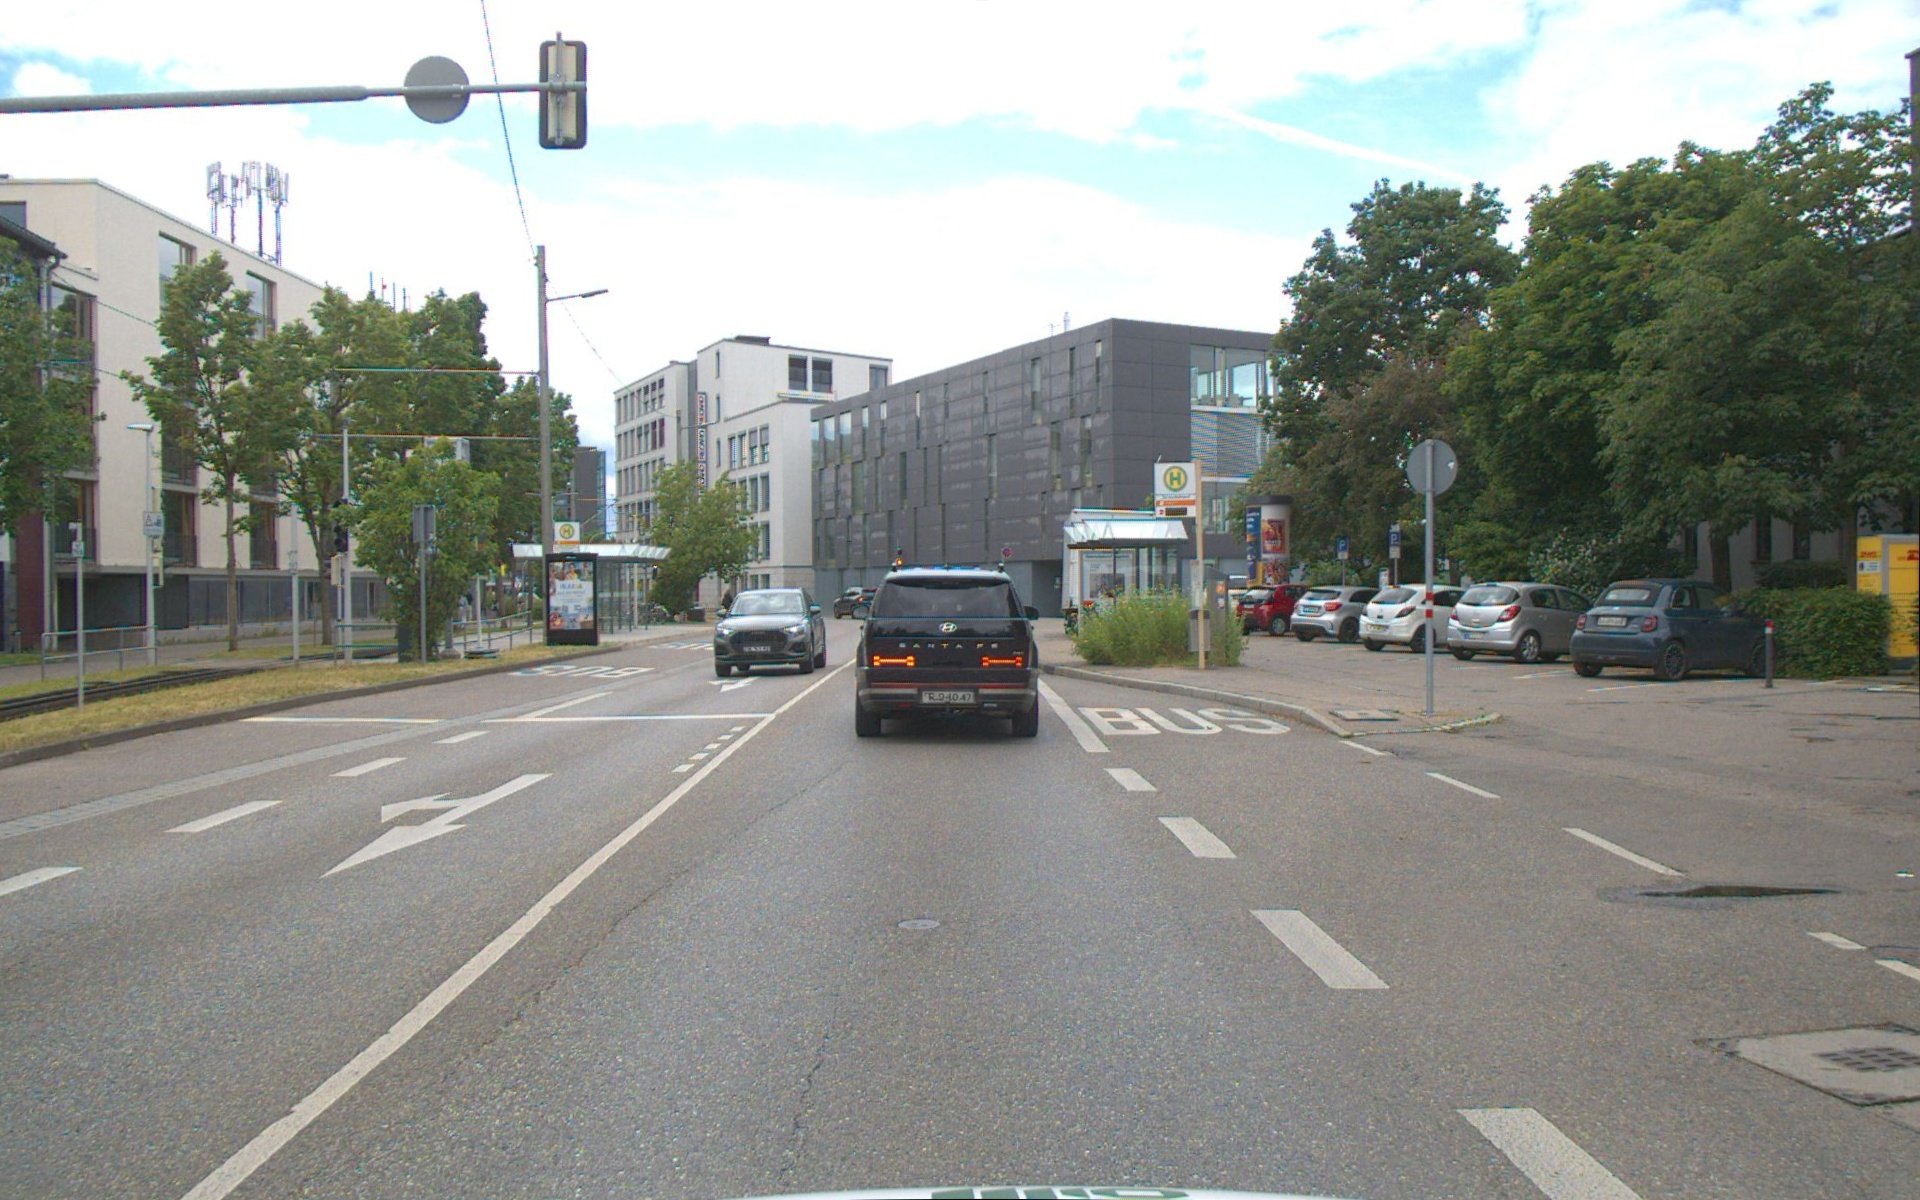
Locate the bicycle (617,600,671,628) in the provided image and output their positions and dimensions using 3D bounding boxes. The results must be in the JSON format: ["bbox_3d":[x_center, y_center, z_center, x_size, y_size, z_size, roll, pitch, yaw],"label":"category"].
[{"bbox_3d":[-12.869,0.570,67.366,2.055,1.125,0.631,0,0,1],"label":"bicycle"}]

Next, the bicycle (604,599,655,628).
[{"bbox_3d":[-13.010,0.546,65.134,1.889,1.125,0.587,0,0,1],"label":"bicycle"}]

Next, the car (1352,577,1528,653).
[{"bbox_3d":[10.528,0.324,36.270,3.597,1.460,1.577,-3,-1,-28],"label":"car"}]

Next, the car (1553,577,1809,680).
[{"bbox_3d":[11.458,0.402,26.229,3.949,1.503,1.859,-1,0,-33],"label":"car"}]

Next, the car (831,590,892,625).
[{"bbox_3d":[-5.266,0.414,87.999,1.824,1.706,4.342,-2,0,-24],"label":"car"}]

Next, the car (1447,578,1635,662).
[{"bbox_3d":[10.992,0.341,31.246,3.471,1.402,1.531,-2,2,-32],"label":"car"}]

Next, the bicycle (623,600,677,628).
[{"bbox_3d":[-12.758,0.580,68.089,2.055,1.125,0.631,0,0,1],"label":"bicycle"}]

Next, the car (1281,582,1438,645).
[{"bbox_3d":[10.224,0.365,42.243,3.752,1.499,1.779,1,-1,-31],"label":"car"}]

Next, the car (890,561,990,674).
[{"bbox_3d":[-0.429,0.297,32.902,1.818,2.069,4.436,-1,1,-1],"label":"car"}]

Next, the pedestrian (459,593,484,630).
[{"bbox_3d":[-22.997,0.538,77.842,0.900,1.749,0.906,-1,0,-1],"label":"pedestrian"}]

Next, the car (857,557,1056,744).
[{"bbox_3d":[-0.127,0.469,17.795,1.877,1.755,4.168,1,0,-3],"label":"car"}]

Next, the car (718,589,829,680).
[{"bbox_3d":[-3.532,0.623,31.963,1.704,1.586,4.182,-2,0,-1],"label":"car"}]

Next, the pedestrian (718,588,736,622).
[{"bbox_3d":[-12.999,0.274,92.114,0.922,1.832,0.589,-1,0,-12],"label":"pedestrian"}]

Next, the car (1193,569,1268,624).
[{"bbox_3d":[10.071,-0.110,61.937,1.953,1.870,4.517,-2,0,-1],"label":"car"}]

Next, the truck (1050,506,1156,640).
[{"bbox_3d":[4.080,-0.751,48.560,2.520,3.587,7.811,-1,0,1],"label":"truck"}]

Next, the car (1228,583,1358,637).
[{"bbox_3d":[9.574,0.295,47.518,3.453,1.481,1.665,1,-1,-29],"label":"car"}]
